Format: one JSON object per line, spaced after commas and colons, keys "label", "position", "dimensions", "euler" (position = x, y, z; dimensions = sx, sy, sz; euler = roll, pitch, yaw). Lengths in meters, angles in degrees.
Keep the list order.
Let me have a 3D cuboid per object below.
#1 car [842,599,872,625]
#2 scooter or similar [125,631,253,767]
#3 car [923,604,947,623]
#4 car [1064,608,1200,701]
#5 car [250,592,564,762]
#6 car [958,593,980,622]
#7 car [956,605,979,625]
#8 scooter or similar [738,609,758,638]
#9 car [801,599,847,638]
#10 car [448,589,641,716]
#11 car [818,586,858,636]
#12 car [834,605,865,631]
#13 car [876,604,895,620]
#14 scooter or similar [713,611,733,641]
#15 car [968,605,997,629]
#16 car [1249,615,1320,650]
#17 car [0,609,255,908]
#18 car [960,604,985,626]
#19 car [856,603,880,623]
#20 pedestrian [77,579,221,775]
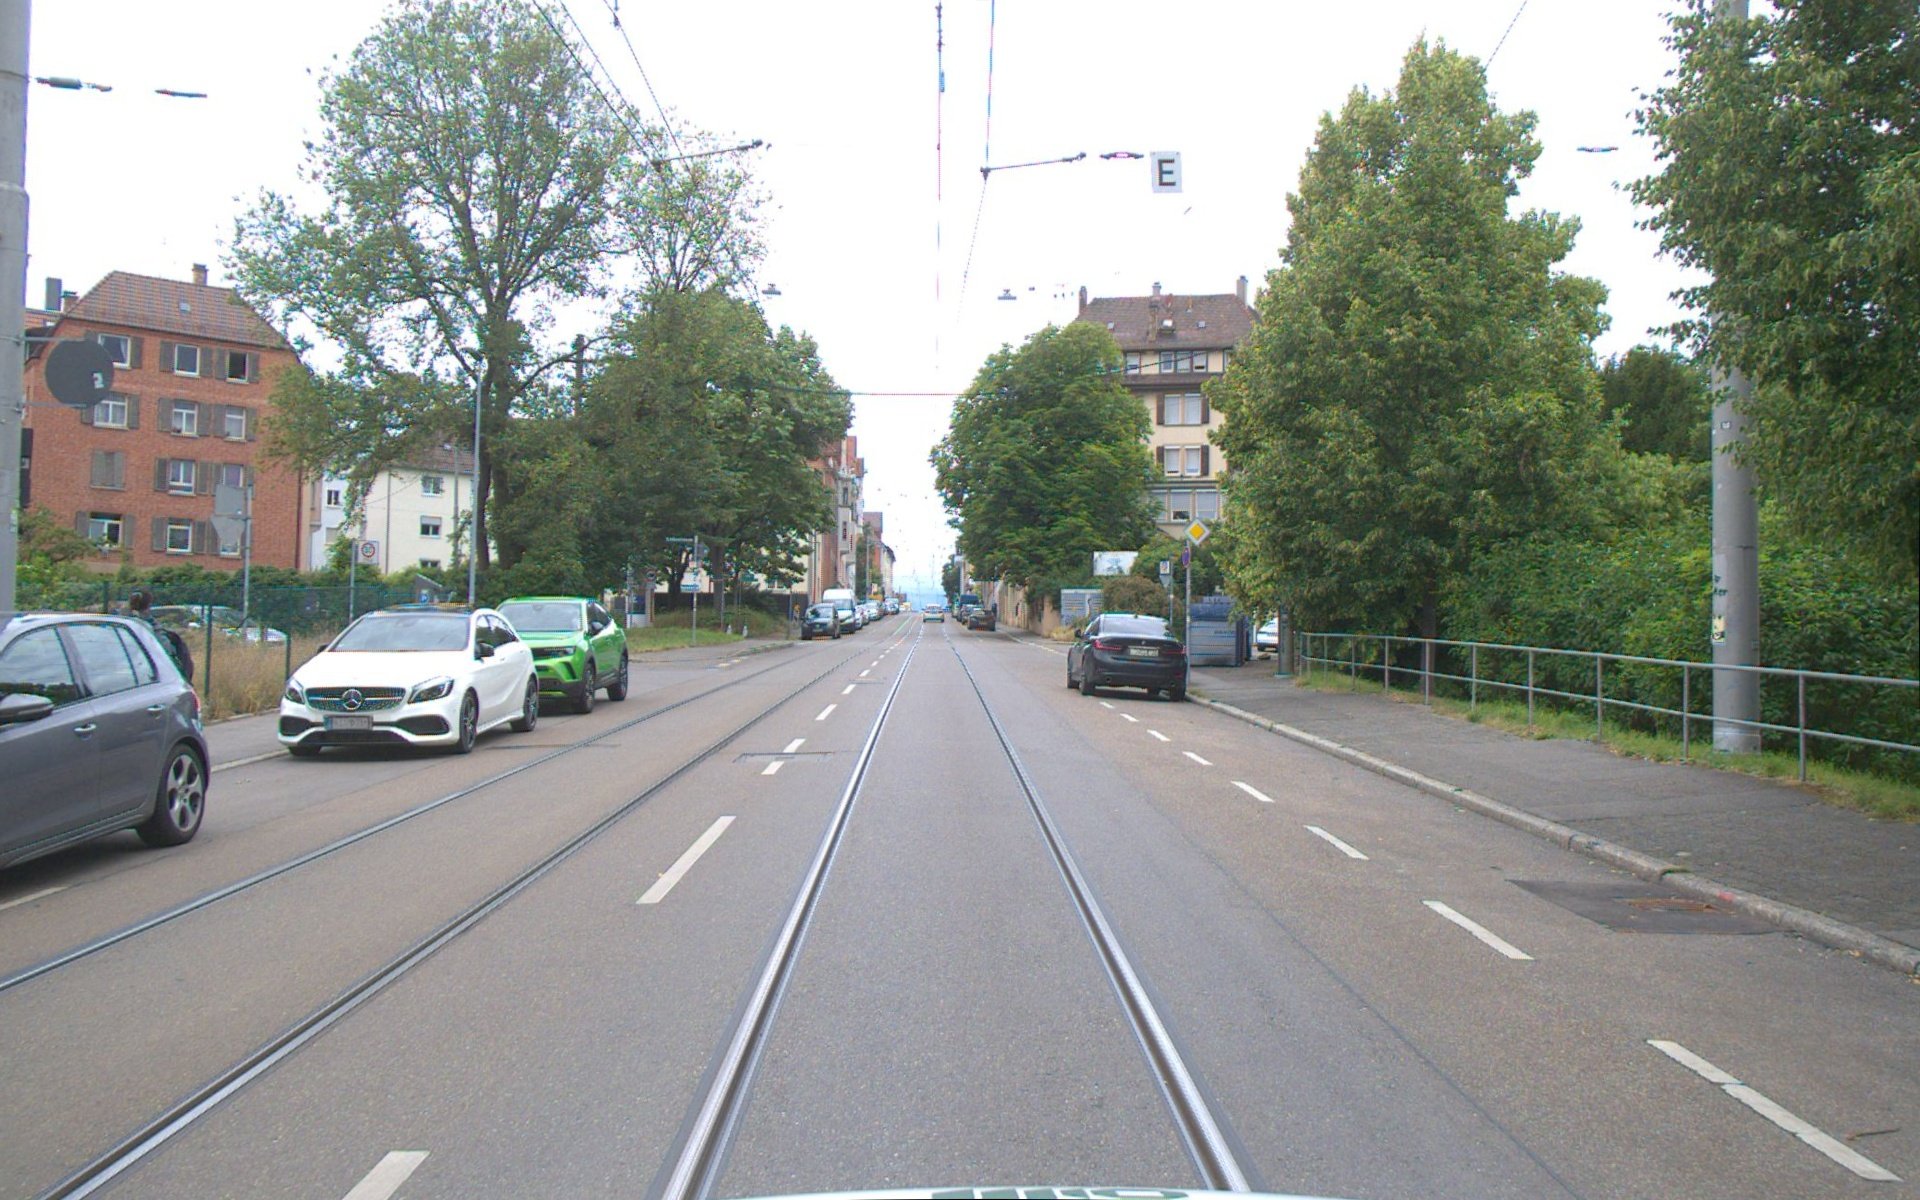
{"label": "car", "position": [-7.742, 0.903, 125.053], "dimensions": [1.952, 1.844, 4.312], "euler": [1, -1, 0]}
{"label": "scooter or similar", "position": [-7.187, 0.909, 15.459], "dimensions": [0.789, 1.217, 0.839], "euler": [1, -1, -3]}
{"label": "car", "position": [-2.162, 1.174, 142.011], "dimensions": [1.953, 1.525, 4.310], "euler": [1, -1, -1]}
{"label": "car", "position": [3.028, 0.938, 30.027], "dimensions": [1.791, 1.455, 4.846], "euler": [3, -1, -1]}
{"label": "car", "position": [-5.663, 0.733, 17.610], "dimensions": [1.847, 1.553, 4.662], "euler": [-1, -1, -1]}
{"label": "car", "position": [0.792, 0.721, 151.715], "dimensions": [1.953, 2.619, 4.703], "euler": [0, -1, -1]}
{"label": "car", "position": [0.664, 1.326, 146.199], "dimensions": [1.953, 1.680, 3.999], "euler": [0, -1, -1]}
{"label": "scooter or similar", "position": [-10.092, 1.120, 78.740], "dimensions": [0.677, 1.362, 1.638], "euler": [1, -1, 0]}
{"label": "car", "position": [-6.873, 0.949, 83.844], "dimensions": [1.952, 1.840, 4.000], "euler": [1, -1, 0]}
{"label": "car", "position": [-5.696, 0.678, 23.172], "dimensions": [1.688, 1.607, 4.180], "euler": [0, 0, -1]}
{"label": "car", "position": [-7.189, 0.693, 98.334], "dimensions": [2.186, 2.813, 5.795], "euler": [1, -1, -3]}
{"label": "car", "position": [-7.217, 1.223, 108.642], "dimensions": [1.954, 1.628, 4.309], "euler": [1, -1, -3]}
{"label": "car", "position": [-8.204, 1.304, 181.672], "dimensions": [1.953, 1.629, 3.998], "euler": [1, -1, -1]}
{"label": "scooter or similar", "position": [-11.320, 1.243, 79.022], "dimensions": [0.677, 1.362, 1.638], "euler": [1, -1, -1]}
{"label": "car", "position": [1.519, 1.192, 113.057], "dimensions": [1.953, 1.557, 4.312], "euler": [1, -1, 0]}
{"label": "car", "position": [14.634, 1.485, 74.432], "dimensions": [1.955, 1.505, 4.458], "euler": [1, -1, 27]}
{"label": "car", "position": [-5.686, 0.796, 8.978], "dimensions": [1.858, 1.458, 4.510], "euler": [0, 0, -1]}
{"label": "car", "position": [1.023, 1.235, 134.041], "dimensions": [1.953, 1.747, 3.999], "euler": [0, -1, -1]}
{"label": "car", "position": [-7.881, 1.148, 142.151], "dimensions": [1.885, 1.629, 3.999], "euler": [1, -1, -1]}
{"label": "pedestrian", "position": [-7.139, 0.669, 14.605], "dimensions": [0.789, 1.657, 0.916], "euler": [1, -1, -3]}
